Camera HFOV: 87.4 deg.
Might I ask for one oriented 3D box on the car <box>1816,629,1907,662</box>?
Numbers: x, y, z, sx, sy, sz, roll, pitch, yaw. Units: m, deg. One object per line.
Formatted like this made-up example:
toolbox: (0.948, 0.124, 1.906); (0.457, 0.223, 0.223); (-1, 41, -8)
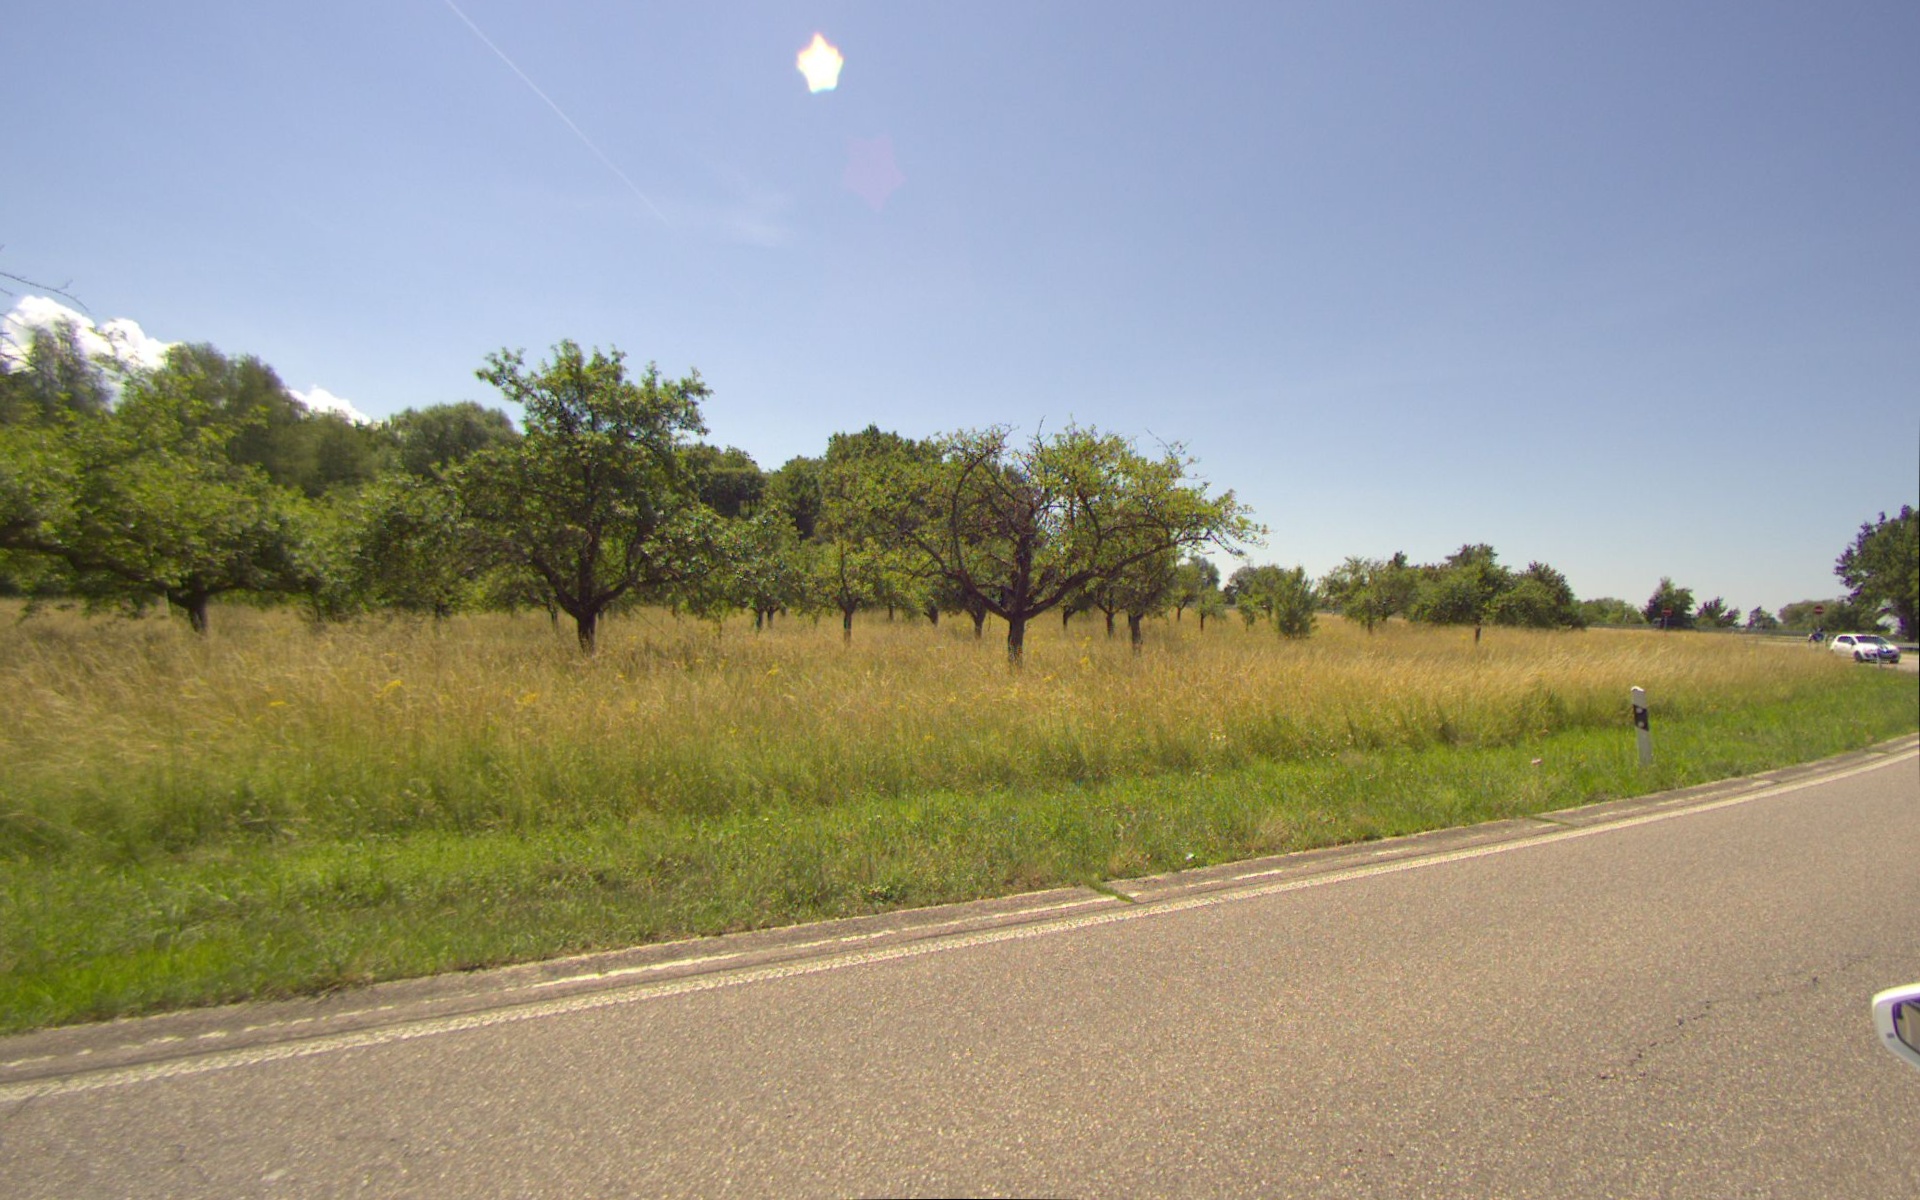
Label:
car: (47.630, 2.389, 53.181); (1.791, 1.527, 4.174); (2, 0, 13)
